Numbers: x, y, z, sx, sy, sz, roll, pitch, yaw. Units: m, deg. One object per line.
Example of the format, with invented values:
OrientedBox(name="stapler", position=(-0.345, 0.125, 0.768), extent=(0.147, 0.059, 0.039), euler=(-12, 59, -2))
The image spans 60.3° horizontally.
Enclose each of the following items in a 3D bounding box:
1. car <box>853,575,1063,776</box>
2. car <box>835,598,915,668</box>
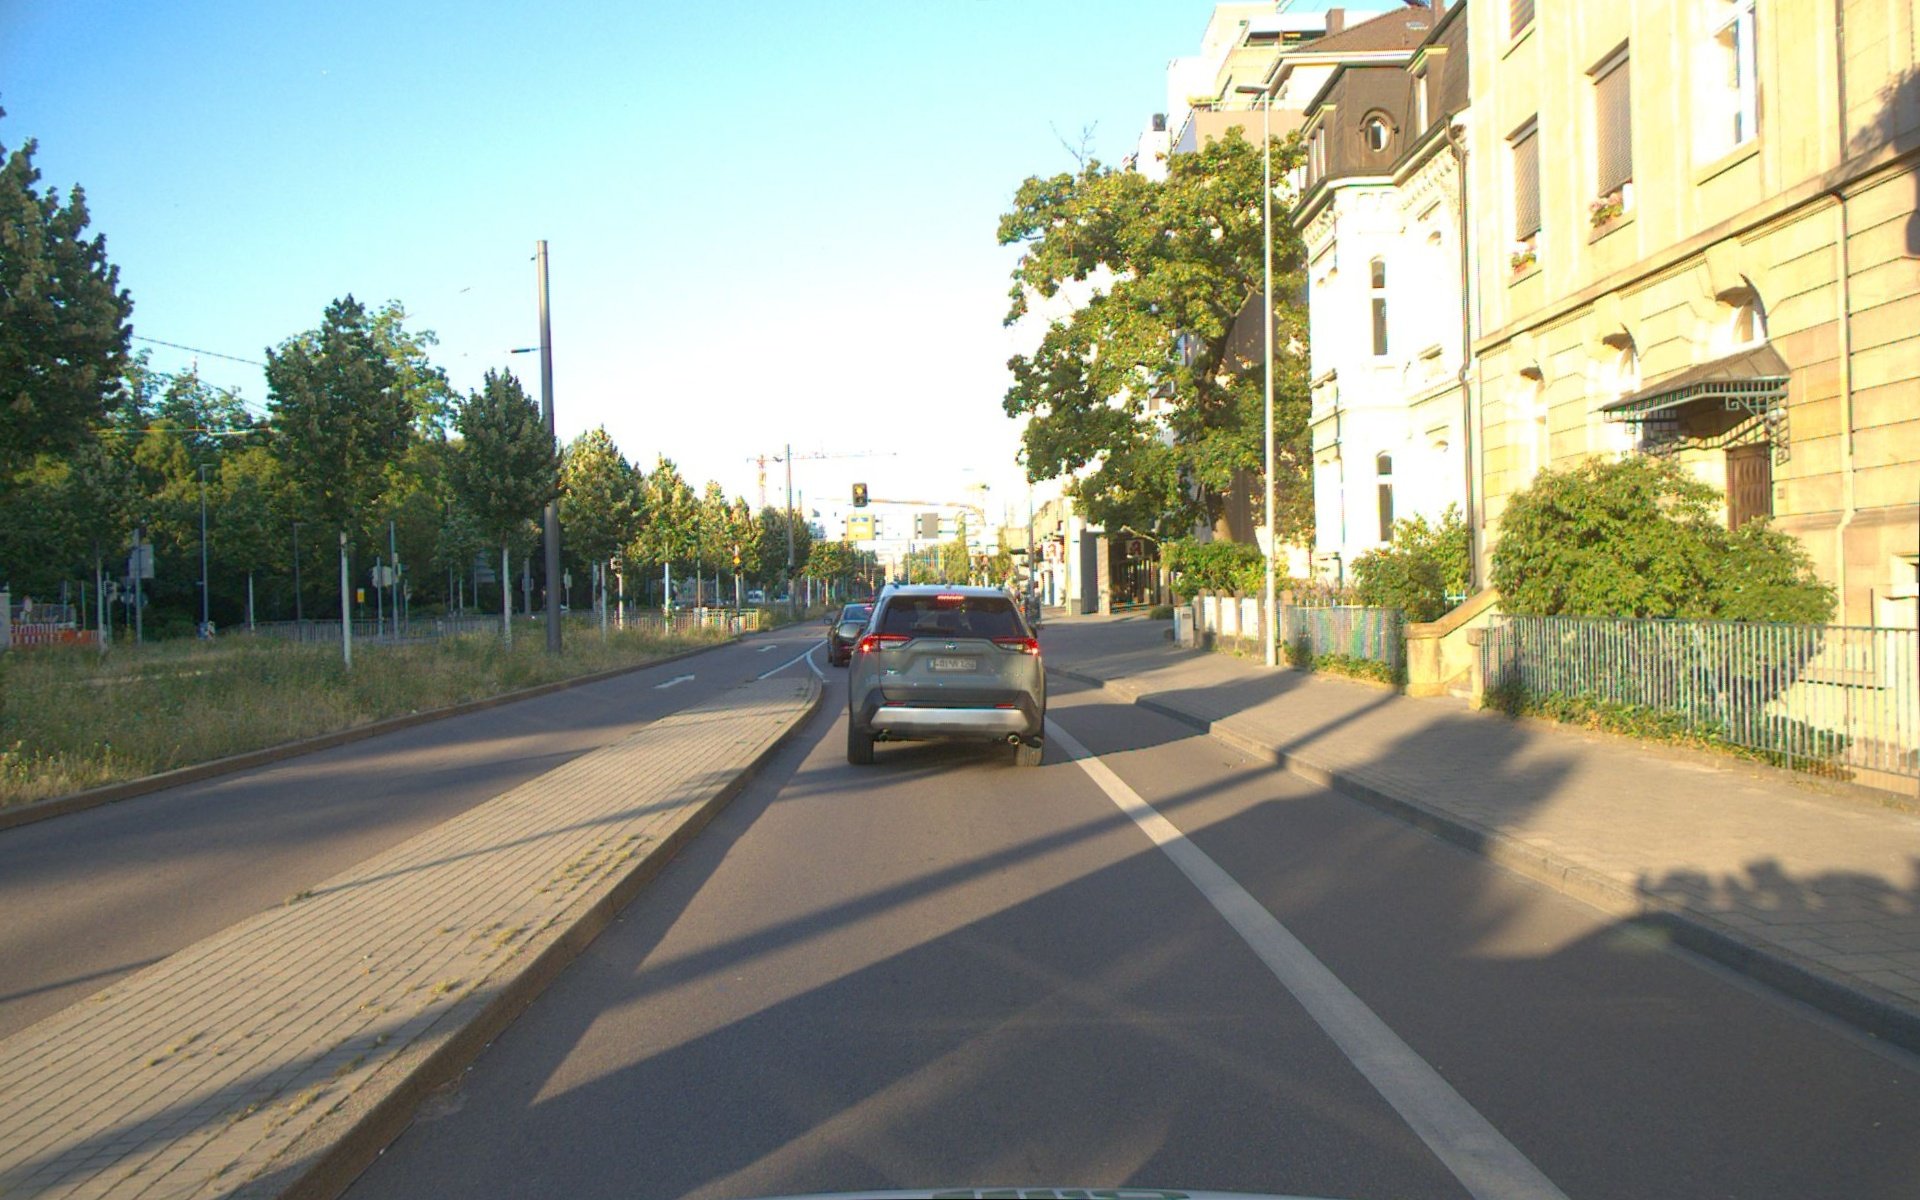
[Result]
OrientedBox(name="car", position=(-0.109, 0.654, 16.470), extent=(1.820, 1.744, 4.190), euler=(0, 0, -3))
OrientedBox(name="car", position=(-2.042, 0.758, 40.085), extent=(1.820, 1.578, 4.107), euler=(0, 0, -3))
